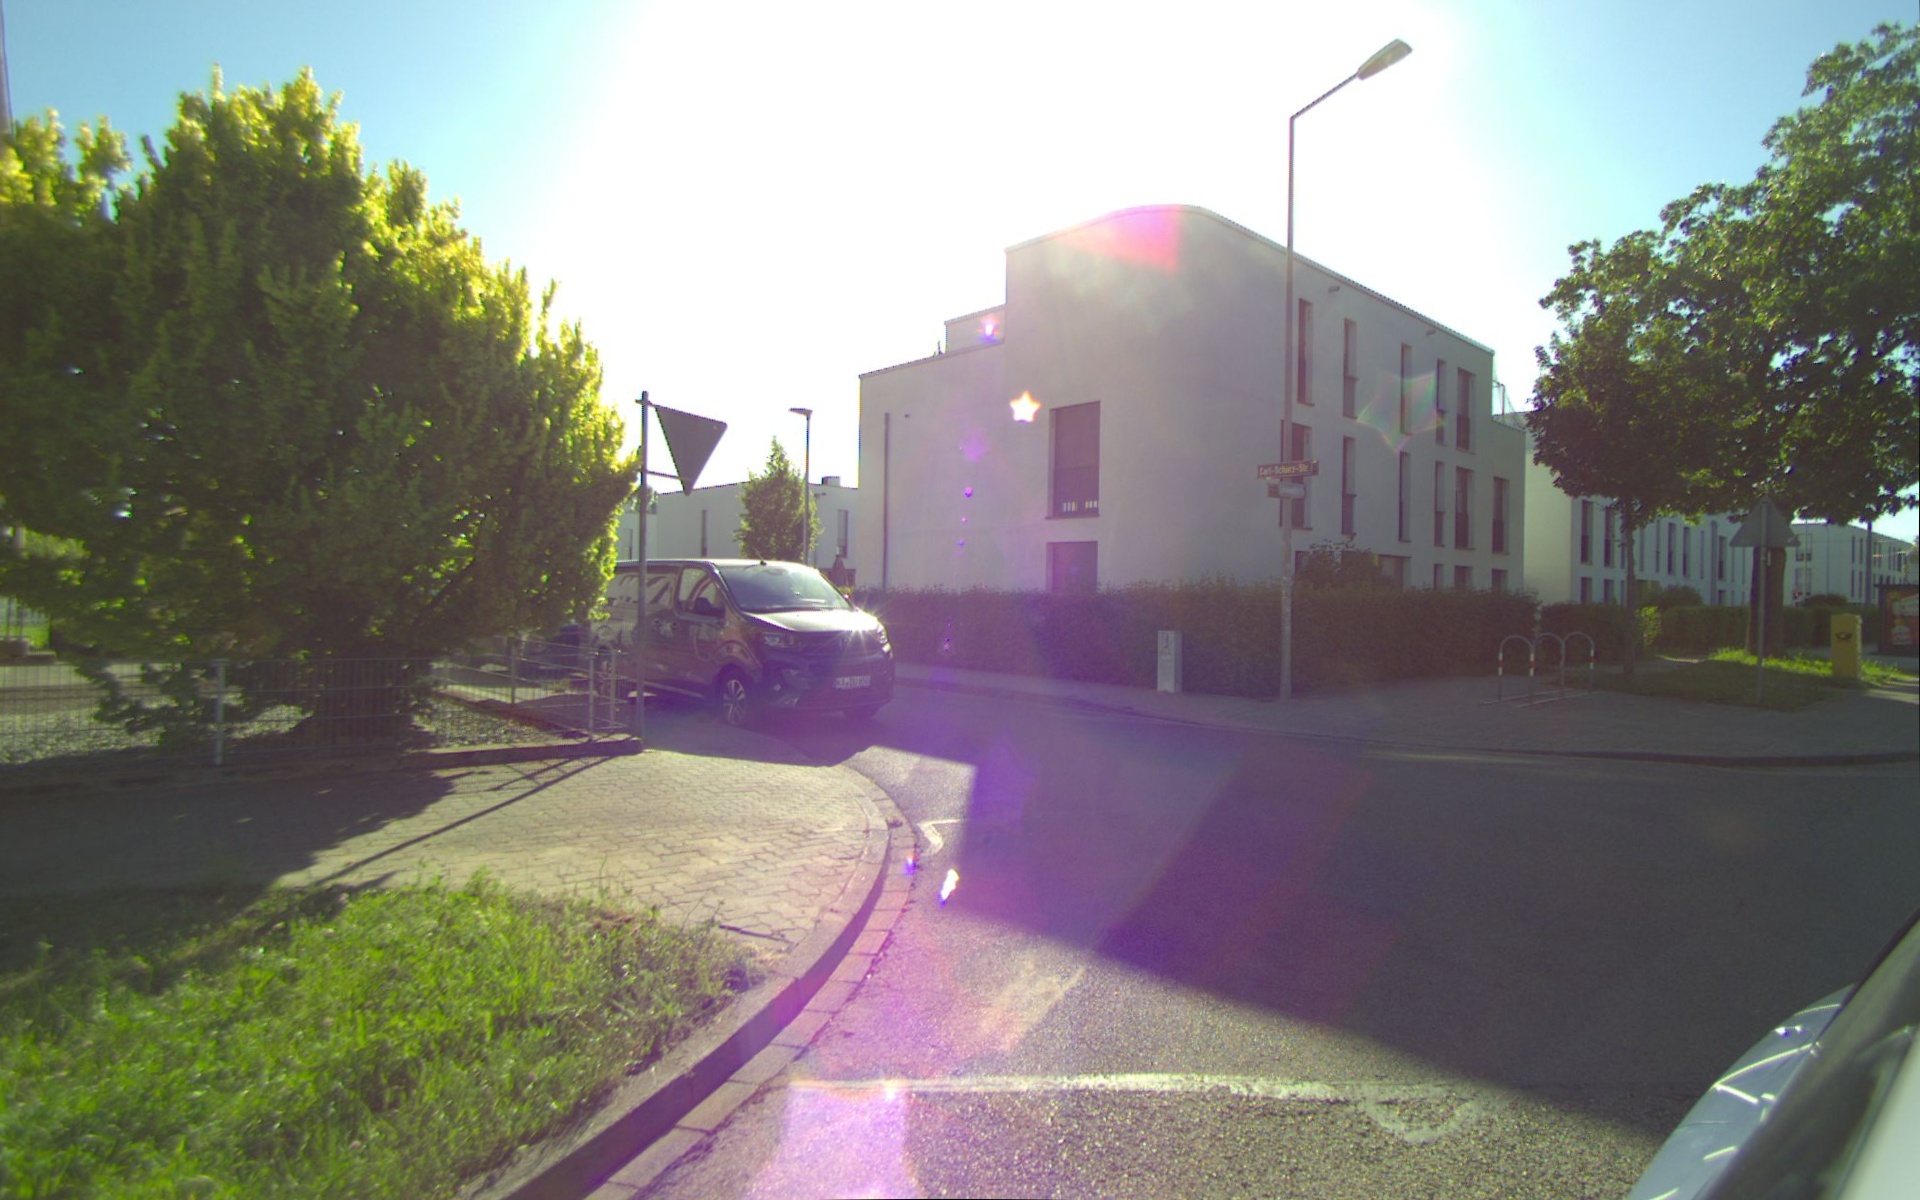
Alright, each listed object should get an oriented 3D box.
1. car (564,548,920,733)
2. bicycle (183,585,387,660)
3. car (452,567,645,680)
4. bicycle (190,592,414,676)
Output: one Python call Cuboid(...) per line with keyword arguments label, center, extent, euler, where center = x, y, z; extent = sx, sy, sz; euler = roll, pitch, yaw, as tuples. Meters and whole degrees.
Cuboid(label="car", center=(-2.935, 0.304, 12.625), extent=(1.881, 1.837, 5.199), euler=(0, 2, -44))
Cuboid(label="bicycle", center=(-10.224, 0.333, 15.416), extent=(2.501, 1.044, 0.648), euler=(1, 1, -41))
Cuboid(label="car", center=(-6.929, 0.316, 16.891), extent=(1.880, 1.623, 3.555), euler=(1, 1, -42))
Cuboid(label="bicycle", center=(-8.983, 0.450, 13.914), extent=(2.501, 1.044, 0.648), euler=(1, 1, -41))
